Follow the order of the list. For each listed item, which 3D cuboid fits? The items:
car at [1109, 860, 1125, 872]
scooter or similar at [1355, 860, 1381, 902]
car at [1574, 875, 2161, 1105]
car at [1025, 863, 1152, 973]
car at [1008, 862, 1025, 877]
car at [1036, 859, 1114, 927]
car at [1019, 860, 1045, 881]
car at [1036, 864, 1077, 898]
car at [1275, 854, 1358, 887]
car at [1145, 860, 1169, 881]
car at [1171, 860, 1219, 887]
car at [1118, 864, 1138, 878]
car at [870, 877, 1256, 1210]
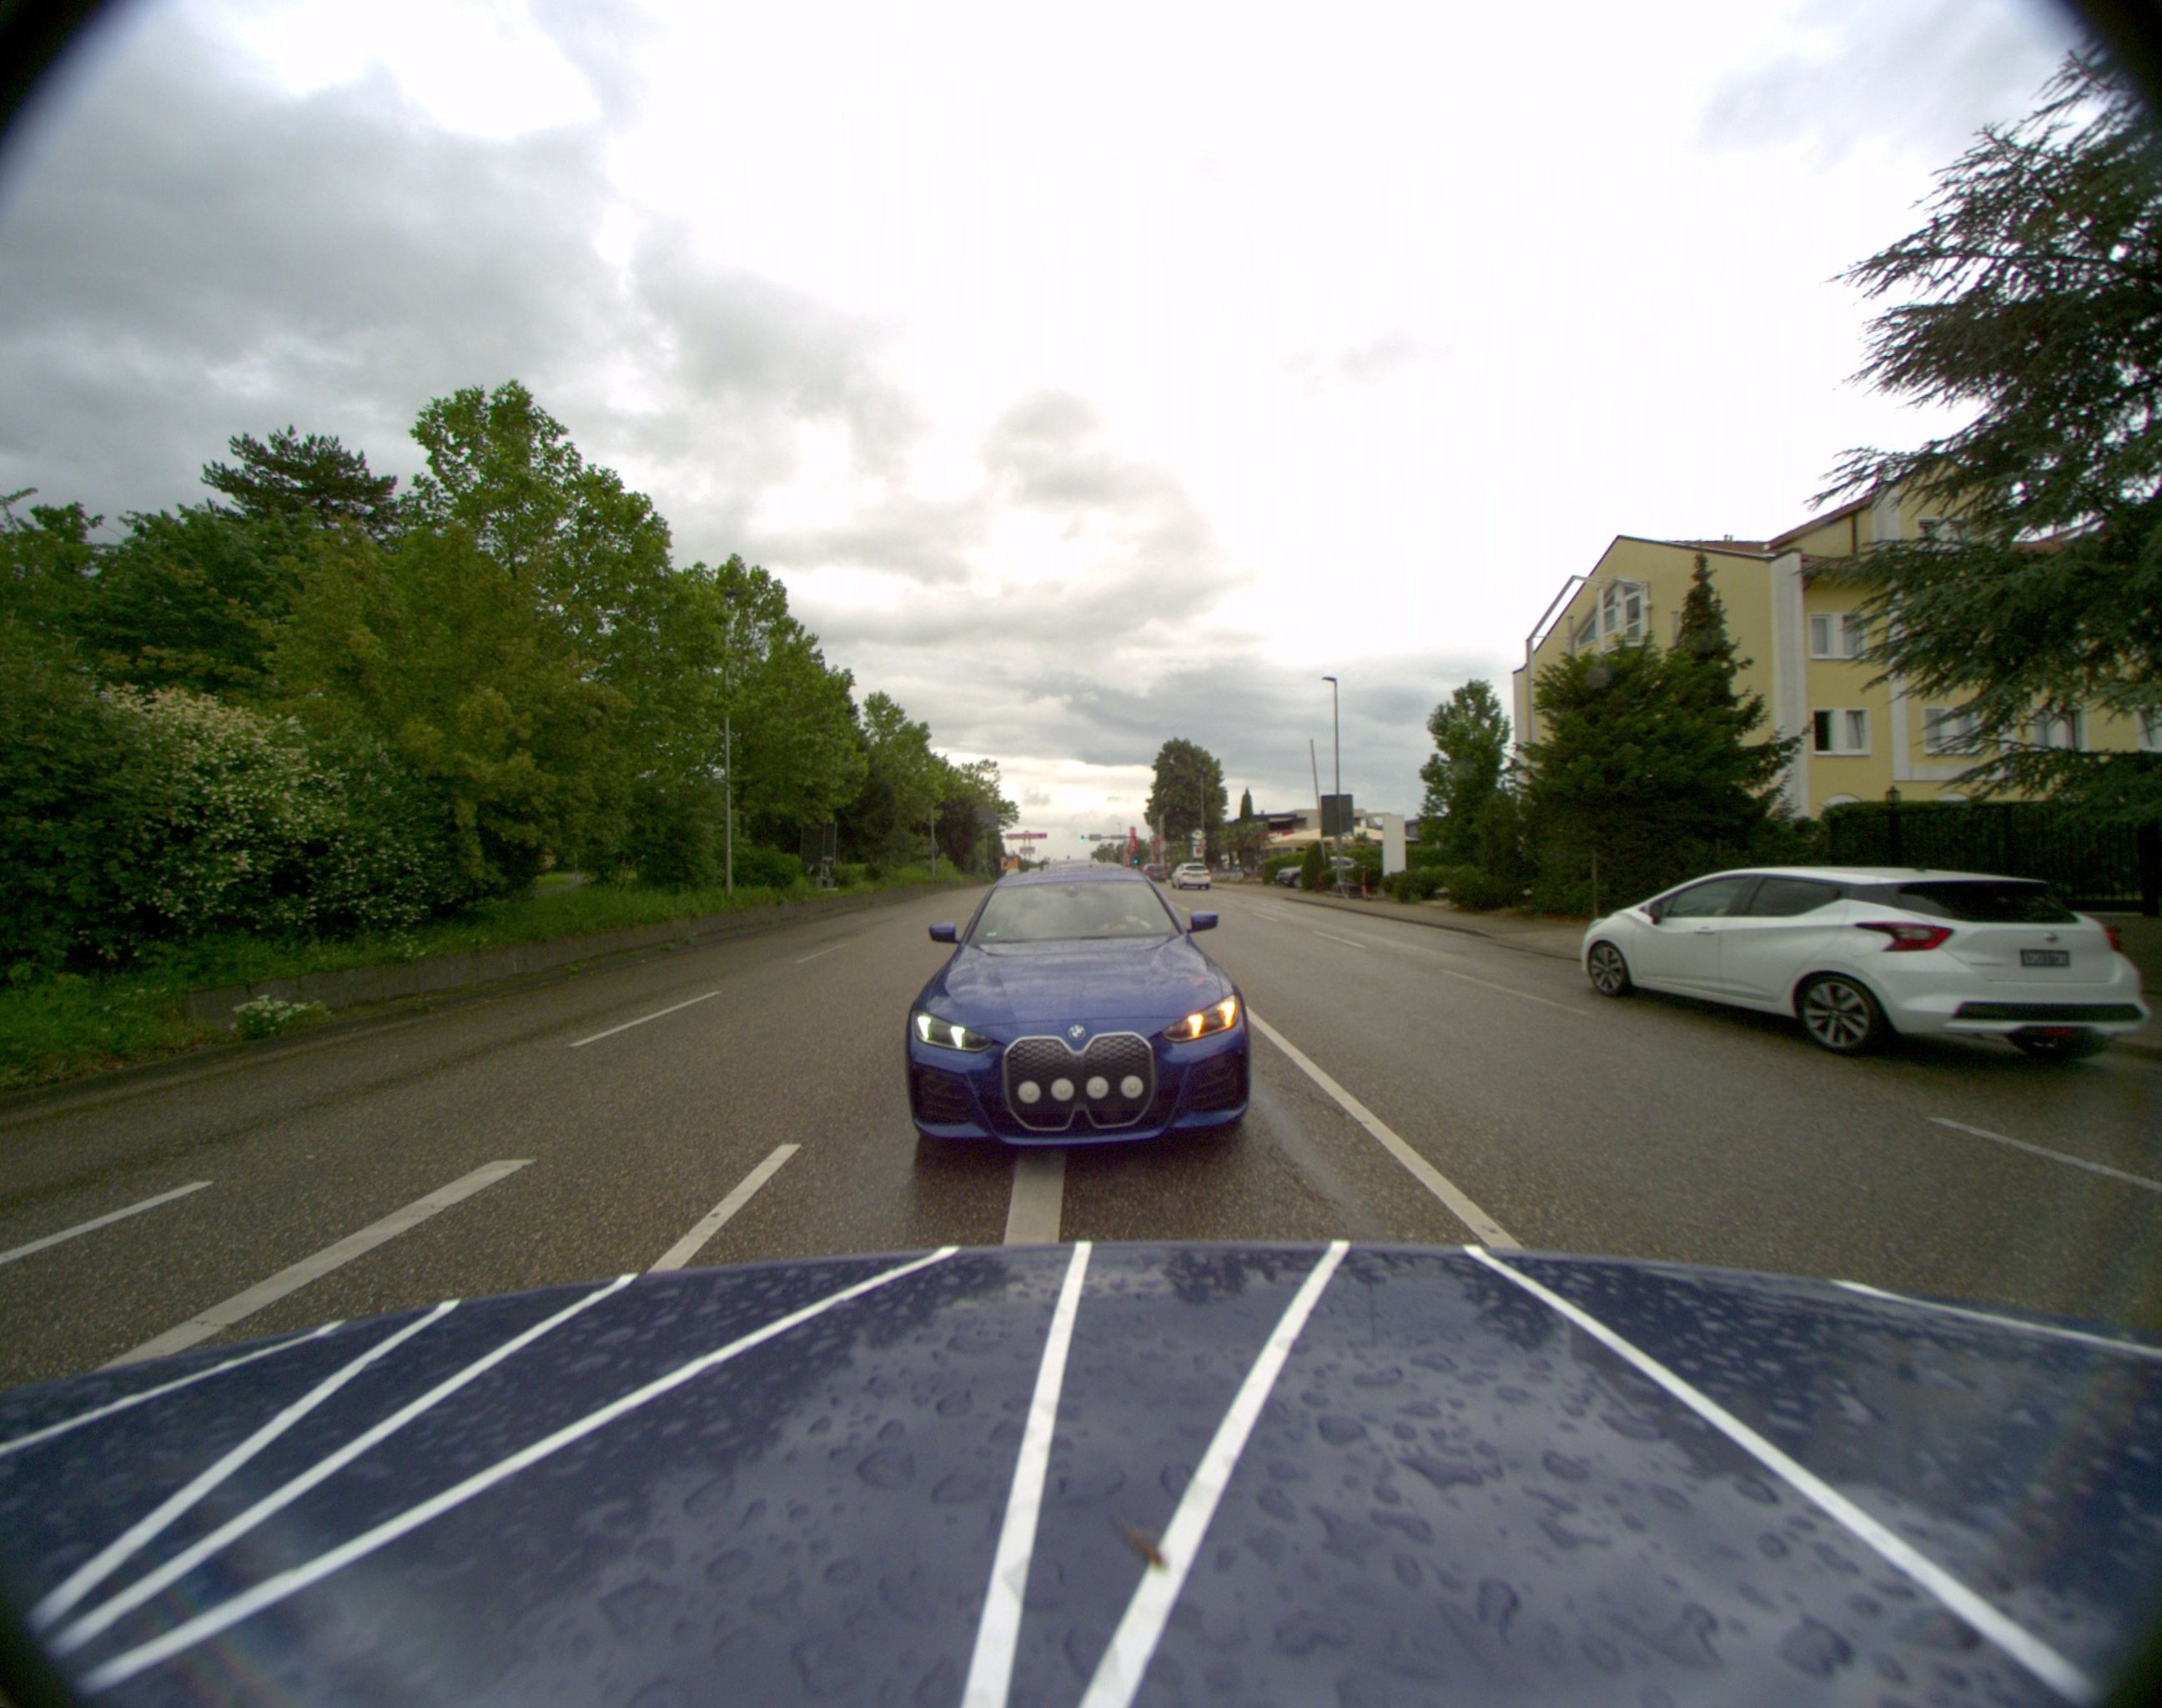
[{"bbox_3d":[4.894,1.586,103.719,1.700,1.467,3.779,-2,0,-2],"label":"car"},{"bbox_3d":[10.041,0.916,26.627,0.505,1.398,1.882,0,0,11],"label":"scooter or similar"},{"bbox_3d":[6.540,0.938,6.843,1.750,1.389,3.802,0,0,1],"label":"car"},{"bbox_3d":[0.122,0.943,13.053,1.807,1.543,4.223,-1,0,0],"label":"car"},{"bbox_3d":[-7.498,1.818,88.230,1.705,1.612,3.843,-3,-2,-2],"label":"car"},{"bbox_3d":[-0.128,0.943,19.987,1.807,1.543,4.000,-1,0,0],"label":"car"},{"bbox_3d":[-3.831,1.284,60.103,1.698,1.580,4.000,-1,0,1],"label":"car"},{"bbox_3d":[-1.158,1.281,37.135,1.775,1.448,4.000,-1,0,1],"label":"car"},{"bbox_3d":[12.398,0.844,40.167,3.930,1.642,1.719,-1,0,6],"label":"car"},{"bbox_3d":[6.265,1.327,62.891,1.703,1.590,3.550,-2,0,1],"label":"car"},{"bbox_3d":[6.545,1.095,44.203,1.973,1.446,4.308,2,0,-2],"label":"car"},{"bbox_3d":[5.439,1.966,88.681,1.790,1.451,4.431,-1,0,-3],"label":"car"},{"bbox_3d":[-0.082,0.965,5.736,1.803,1.399,4.272,-1,0,0],"label":"car"}]
